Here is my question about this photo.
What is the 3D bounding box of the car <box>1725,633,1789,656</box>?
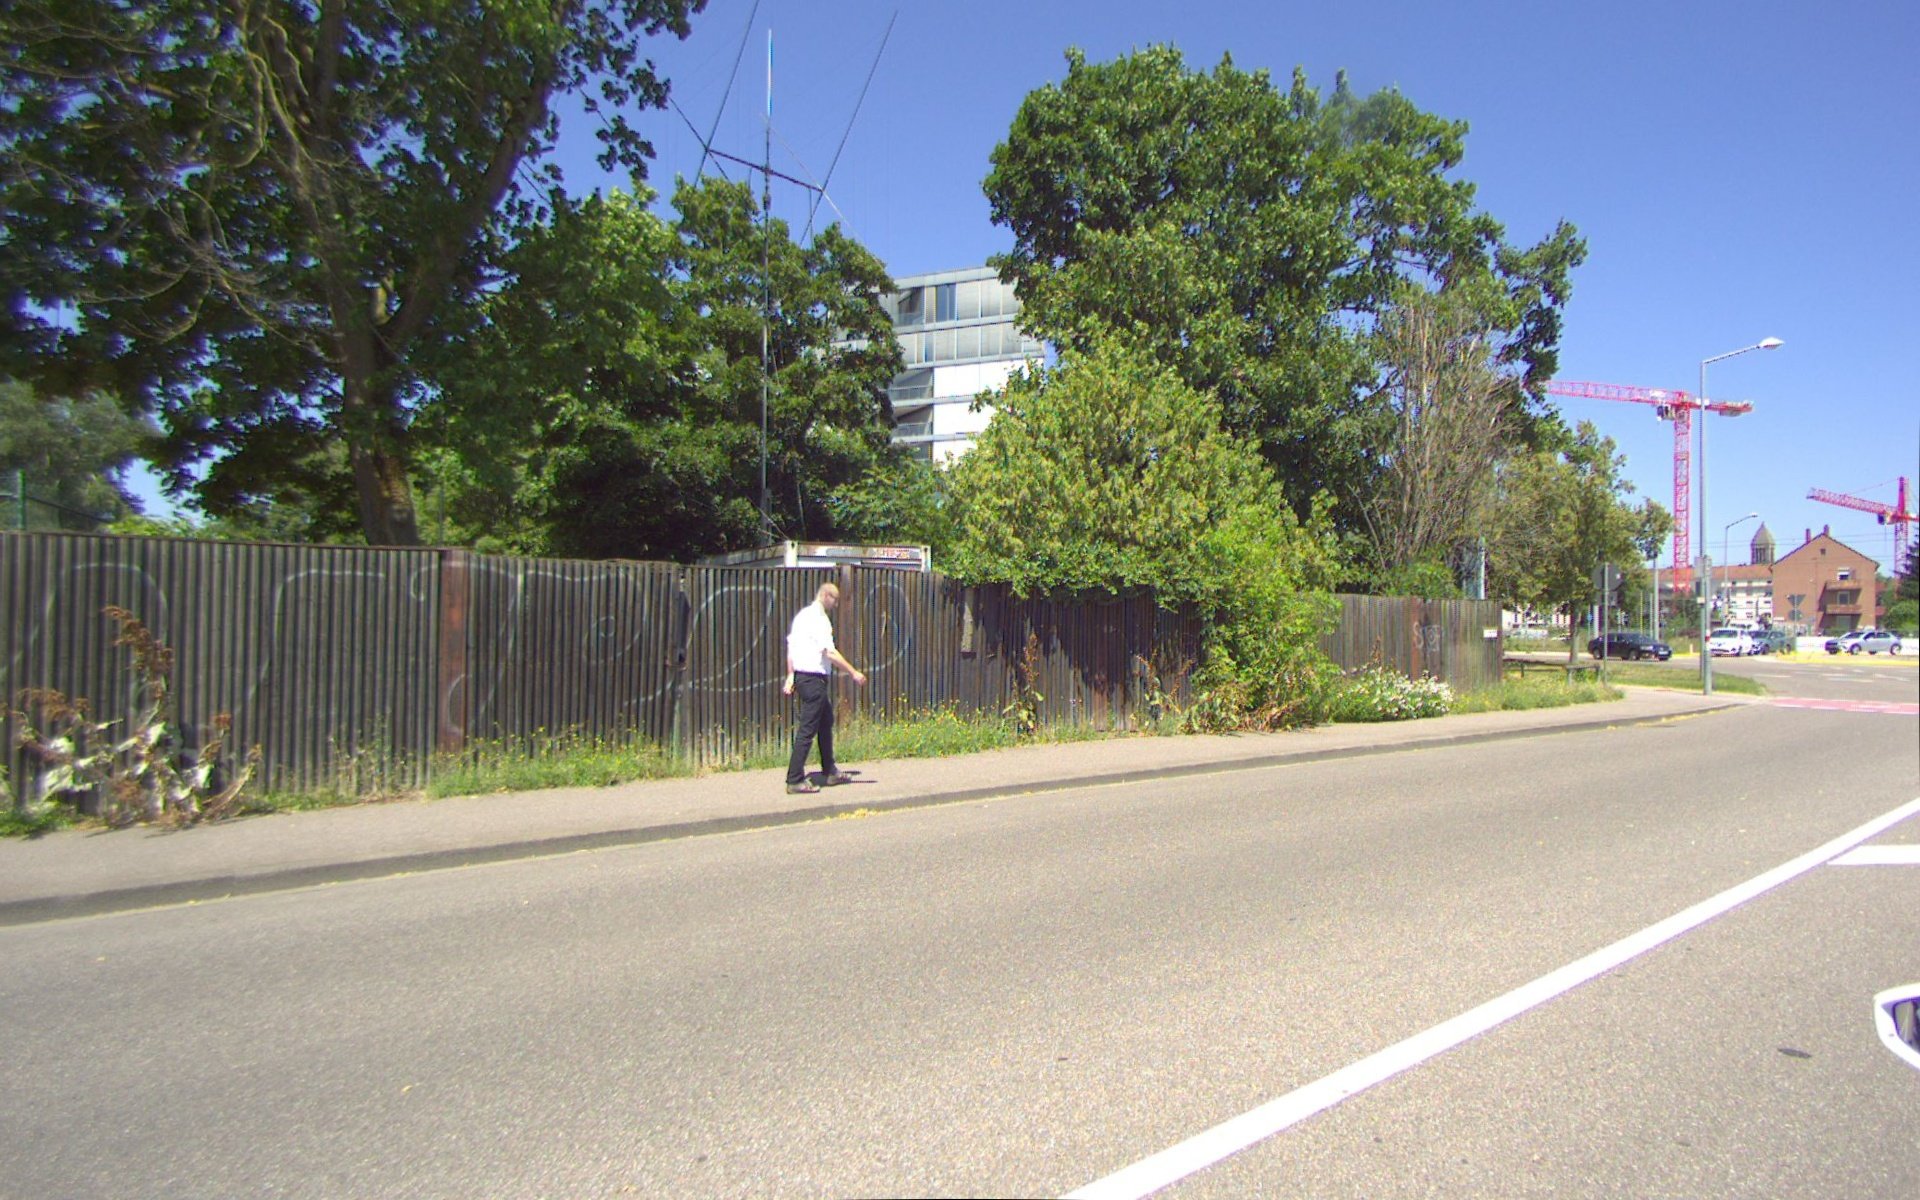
[{"bbox_3d":[46.622,2.592,58.756,3.742,1.253,1.699,2,-1,-30],"label":"car"}]

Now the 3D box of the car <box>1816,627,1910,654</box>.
[{"bbox_3d":[55.600,2.506,61.881,4.136,1.520,1.713,1,0,3],"label":"car"}]

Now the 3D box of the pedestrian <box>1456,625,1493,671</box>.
[{"bbox_3d":[18.220,1.701,35.597,0.796,1.584,0.876,1,0,-7],"label":"pedestrian"}]

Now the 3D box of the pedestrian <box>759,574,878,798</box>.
[{"bbox_3d":[-1.238,0.720,8.764,0.841,1.849,0.589,1,0,-30],"label":"pedestrian"}]

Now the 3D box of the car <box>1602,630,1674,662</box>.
[{"bbox_3d":[35.521,2.377,52.773,1.786,1.466,4.535,1,-1,16],"label":"car"}]

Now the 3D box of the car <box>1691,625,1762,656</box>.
[{"bbox_3d":[42.229,2.222,55.299,3.953,1.570,1.748,2,-1,-30],"label":"car"}]
